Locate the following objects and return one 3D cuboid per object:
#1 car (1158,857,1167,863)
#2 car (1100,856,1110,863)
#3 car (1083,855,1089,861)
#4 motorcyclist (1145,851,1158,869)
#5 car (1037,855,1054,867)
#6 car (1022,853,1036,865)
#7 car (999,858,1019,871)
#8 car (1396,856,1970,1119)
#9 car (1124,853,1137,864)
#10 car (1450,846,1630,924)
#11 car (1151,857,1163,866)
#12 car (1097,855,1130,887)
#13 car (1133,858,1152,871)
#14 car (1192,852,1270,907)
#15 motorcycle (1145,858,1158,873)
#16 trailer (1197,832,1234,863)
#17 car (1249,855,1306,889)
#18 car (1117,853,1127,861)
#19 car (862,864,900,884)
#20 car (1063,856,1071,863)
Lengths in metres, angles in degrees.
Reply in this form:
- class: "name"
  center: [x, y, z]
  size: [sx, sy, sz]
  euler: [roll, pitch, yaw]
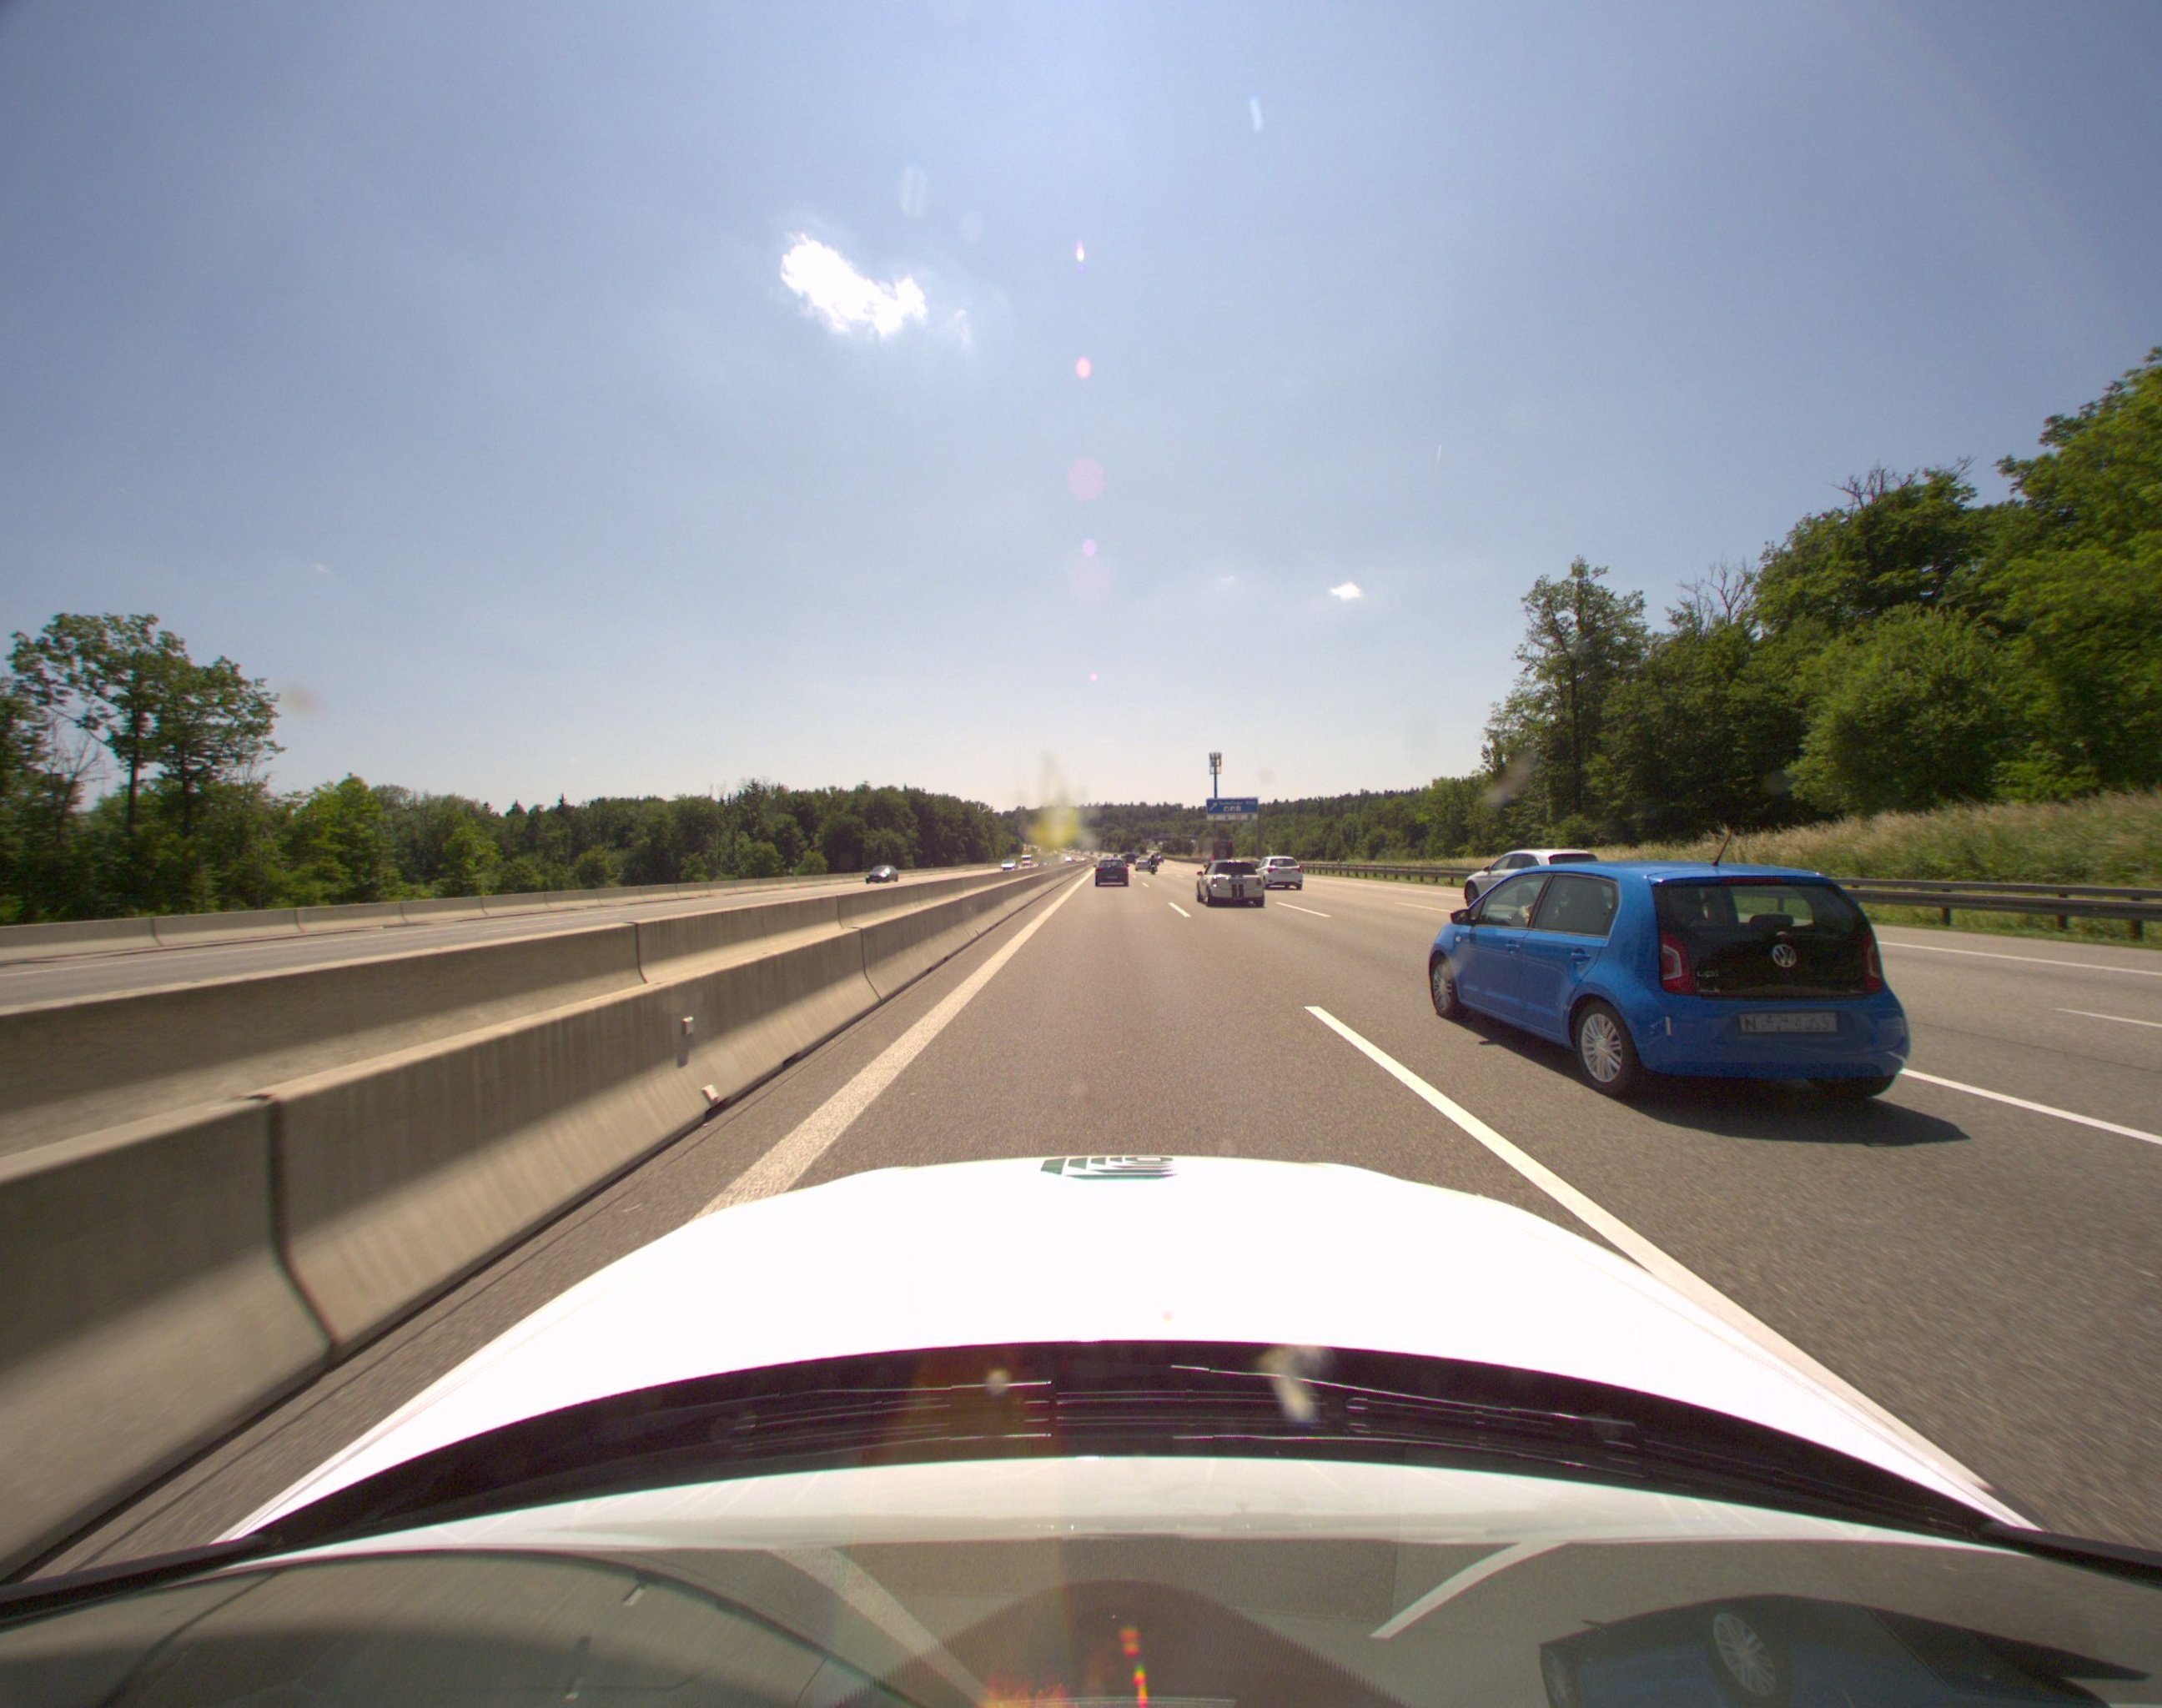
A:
- class: "car"
  center: [18.601, 1.325, 185.319]
  size: [1.603, 1.212, 3.460]
  euler: [-2, 0, 0]
- class: "car"
  center: [4.375, 1.070, 148.626]
  size: [1.532, 1.212, 3.457]
  euler: [-2, 0, -2]
- class: "car"
  center: [1.526, 1.227, 255.359]
  size: [1.842, 1.523, 5.320]
  euler: [-3, 0, 2]
- class: "motorcyclist"
  center: [5.868, 0.534, 68.050]
  size: [0.958, 1.437, 1.235]
  euler: [-3, 0, 1]
- class: "car"
  center: [-4.338, 0.872, 99.768]
  size: [1.832, 1.441, 4.845]
  euler: [-1, 0, 1]
- class: "car"
  center: [-12.002, 1.185, 187.159]
  size: [2.213, 2.659, 8.179]
  euler: [-3, 0, 2]
- class: "car"
  center: [-8.363, 1.222, 94.693]
  size: [1.832, 1.441, 4.000]
  euler: [-1, 0, 1]
- class: "car"
  center: [4.107, 0.747, 6.515]
  size: [1.730, 1.411, 4.002]
  euler: [-1, 0, 2]
- class: "car"
  center: [8.661, 0.849, 143.567]
  size: [2.089, 1.851, 4.083]
  euler: [-2, 0, 2]
- class: "car"
  center: [11.422, 0.664, 20.799]
  size: [1.794, 1.731, 5.241]
  euler: [0, 1, 2]
- class: "car"
  center: [12.634, 1.263, 135.017]
  size: [1.669, 1.431, 3.687]
  euler: [-1, 0, 2]
- class: "car"
  center: [1.679, 0.833, 41.937]
  size: [1.618, 1.487, 3.687]
  euler: [-1, 1, 2]
- class: "car"
  center: [6.480, 1.119, 86.210]
  size: [1.776, 1.265, 3.461]
  euler: [-2, 0, 2]
- class: "car"
  center: [4.599, 0.728, 25.414]
  size: [1.834, 1.552, 4.002]
  euler: [1, 0, 2]
- class: "motorcycle"
  center: [5.889, 0.957, 68.108]
  size: [0.974, 1.129, 2.271]
  euler: [-2, 0, 1]
- class: "trailer"
  center: [17.346, -0.766, 106.145]
  size: [2.847, 3.688, 13.547]
  euler: [-2, -1, 2]
- class: "car"
  center: [9.014, 0.808, 37.714]
  size: [1.660, 1.433, 4.376]
  euler: [-2, 0, 1]
- class: "car"
  center: [9.207, 0.742, 184.041]
  size: [1.989, 1.684, 4.420]
  euler: [0, 1, -2]
- class: "car"
  center: [-16.470, 1.599, 67.215]
  size: [1.832, 1.441, 4.765]
  euler: [-4, 0, 1]
- class: "car"
  center: [-3.819, 1.448, 226.503]
  size: [1.986, 1.787, 5.320]
  euler: [-3, 0, 2]
